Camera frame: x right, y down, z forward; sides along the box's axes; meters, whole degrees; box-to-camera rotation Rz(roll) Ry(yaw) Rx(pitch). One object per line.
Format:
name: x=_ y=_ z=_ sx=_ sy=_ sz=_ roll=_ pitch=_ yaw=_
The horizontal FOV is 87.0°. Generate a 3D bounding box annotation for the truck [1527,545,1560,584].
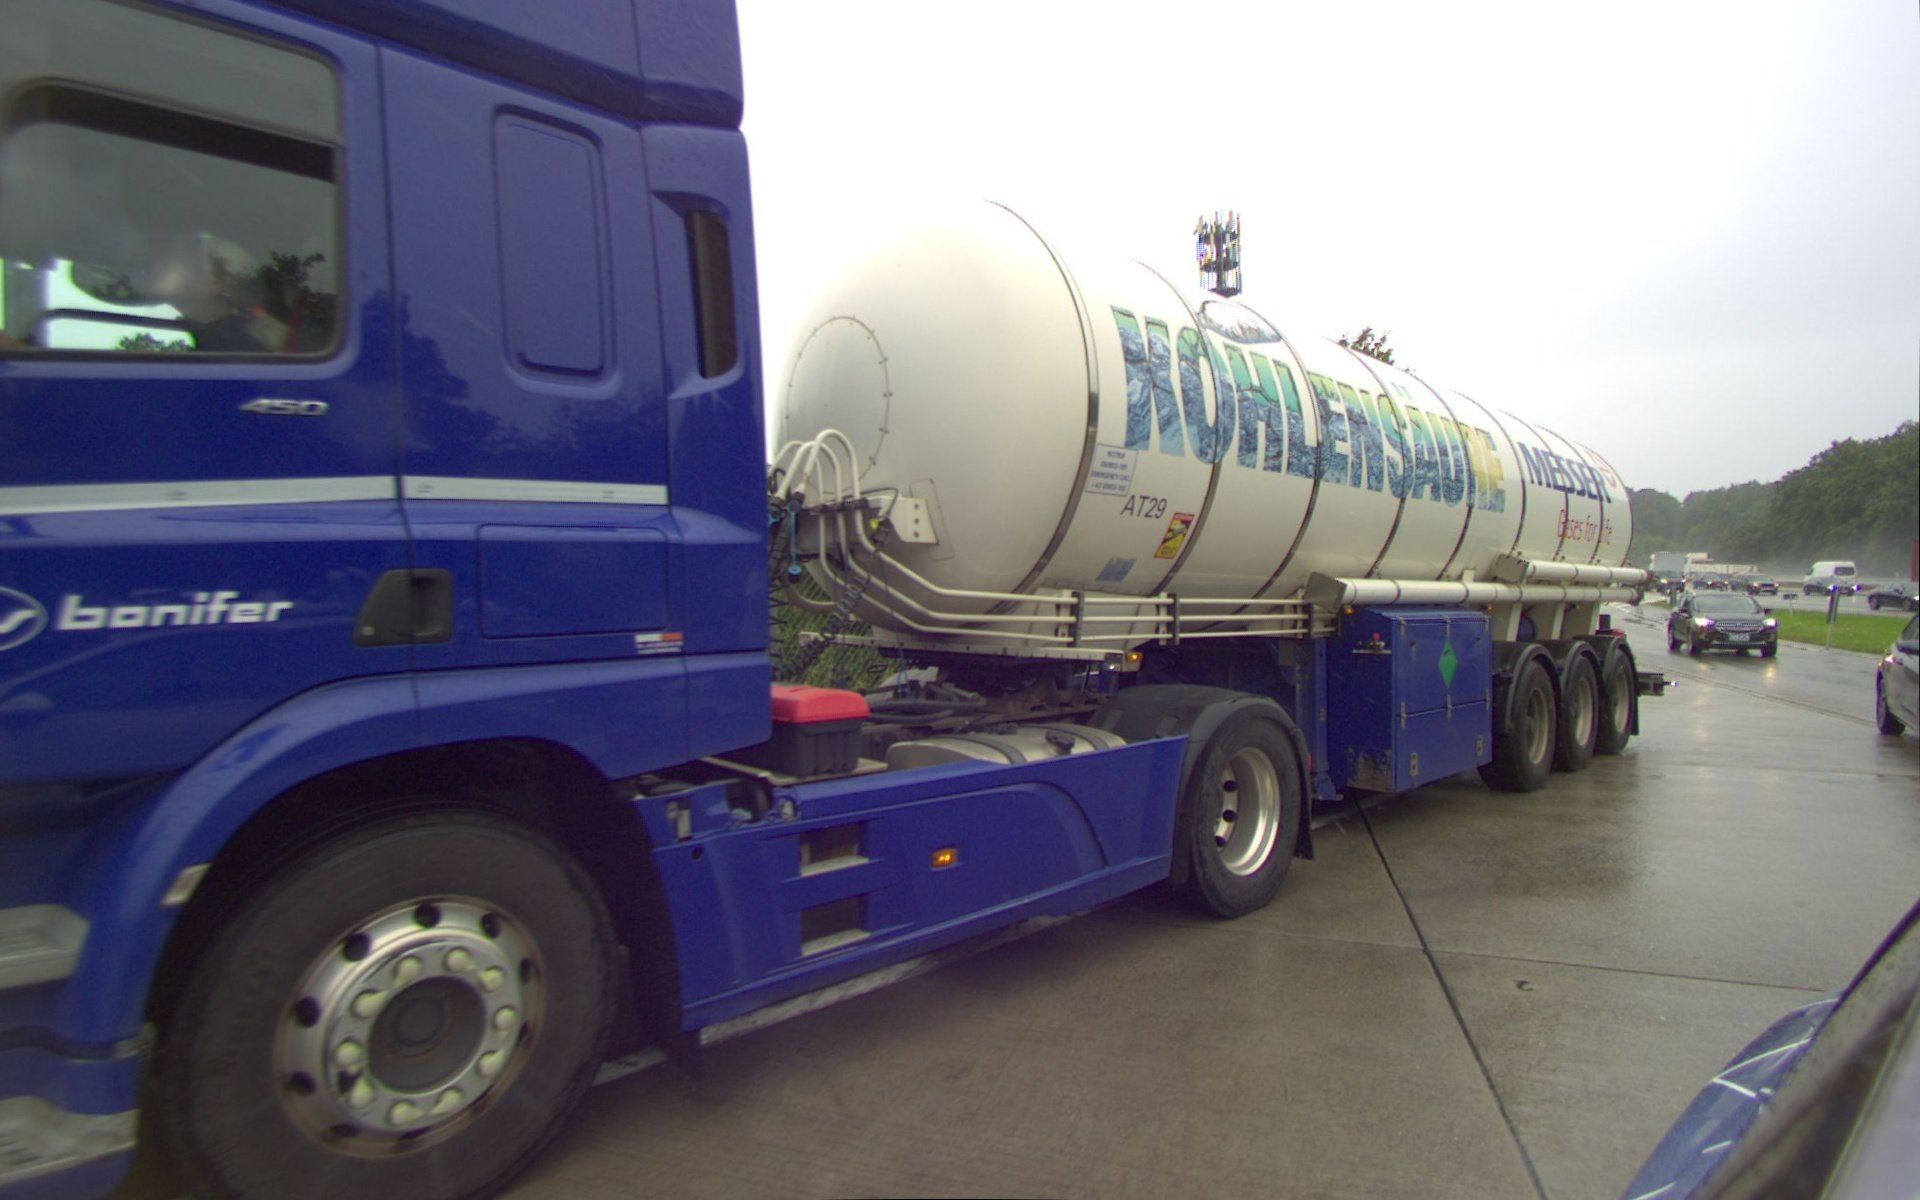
truck: x=67.608 y=-4.065 z=117.330 sx=2.570 sy=4.197 sz=5.188 roll=-4 pitch=0 yaw=24

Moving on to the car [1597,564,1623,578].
car: x=86.893 y=-3.902 z=135.356 sx=1.973 sy=1.835 sz=3.978 roll=1 pitch=1 yaw=17

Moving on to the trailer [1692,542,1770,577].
trailer: x=98.441 y=-5.042 z=129.594 sx=2.586 sy=3.727 sz=14.598 roll=-4 pitch=-1 yaw=16

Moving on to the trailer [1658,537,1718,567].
trailer: x=111.033 y=-7.262 z=154.622 sx=2.695 sy=3.584 sz=13.985 roll=-5 pitch=-2 yaw=16

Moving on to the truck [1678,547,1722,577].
truck: x=100.737 y=-5.066 z=137.849 sx=2.594 sy=3.717 sz=5.962 roll=-4 pitch=-1 yaw=16

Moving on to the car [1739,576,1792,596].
car: x=64.438 y=-1.118 z=81.043 sx=1.762 sy=1.579 sz=4.080 roll=0 pitch=0 yaw=14

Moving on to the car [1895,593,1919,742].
car: x=10.246 y=0.655 z=9.663 sx=1.663 sy=1.420 sz=4.201 roll=0 pitch=0 yaw=39

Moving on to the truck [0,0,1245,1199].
truck: x=-1.123 y=-0.392 z=3.741 sx=4.666 sy=3.576 sz=2.055 roll=-1 pitch=0 yaw=-43

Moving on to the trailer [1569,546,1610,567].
trailer: x=129.299 y=-8.830 z=208.135 sx=2.992 sy=3.859 sz=13.354 roll=-2 pitch=0 yaw=13

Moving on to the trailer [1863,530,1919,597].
trailer: x=51.968 y=-1.930 z=51.663 sx=2.656 sy=3.548 sz=15.043 roll=-4 pitch=1 yaw=18

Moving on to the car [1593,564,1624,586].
car: x=72.419 y=-2.782 z=113.022 sx=1.895 sy=2.037 sz=3.976 roll=-6 pitch=1 yaw=21

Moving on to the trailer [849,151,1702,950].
trailer: x=3.757 y=-0.260 z=8.353 sx=10.148 sy=3.265 sz=1.982 roll=-1 pitch=0 yaw=-43

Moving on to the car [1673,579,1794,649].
car: x=20.517 y=0.323 z=27.009 sx=1.794 sy=1.560 sz=3.963 roll=-5 pitch=0 yaw=28

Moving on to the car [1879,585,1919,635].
car: x=45.910 y=0.475 z=47.908 sx=1.893 sy=2.037 sz=3.981 roll=-7 pitch=1 yaw=17
